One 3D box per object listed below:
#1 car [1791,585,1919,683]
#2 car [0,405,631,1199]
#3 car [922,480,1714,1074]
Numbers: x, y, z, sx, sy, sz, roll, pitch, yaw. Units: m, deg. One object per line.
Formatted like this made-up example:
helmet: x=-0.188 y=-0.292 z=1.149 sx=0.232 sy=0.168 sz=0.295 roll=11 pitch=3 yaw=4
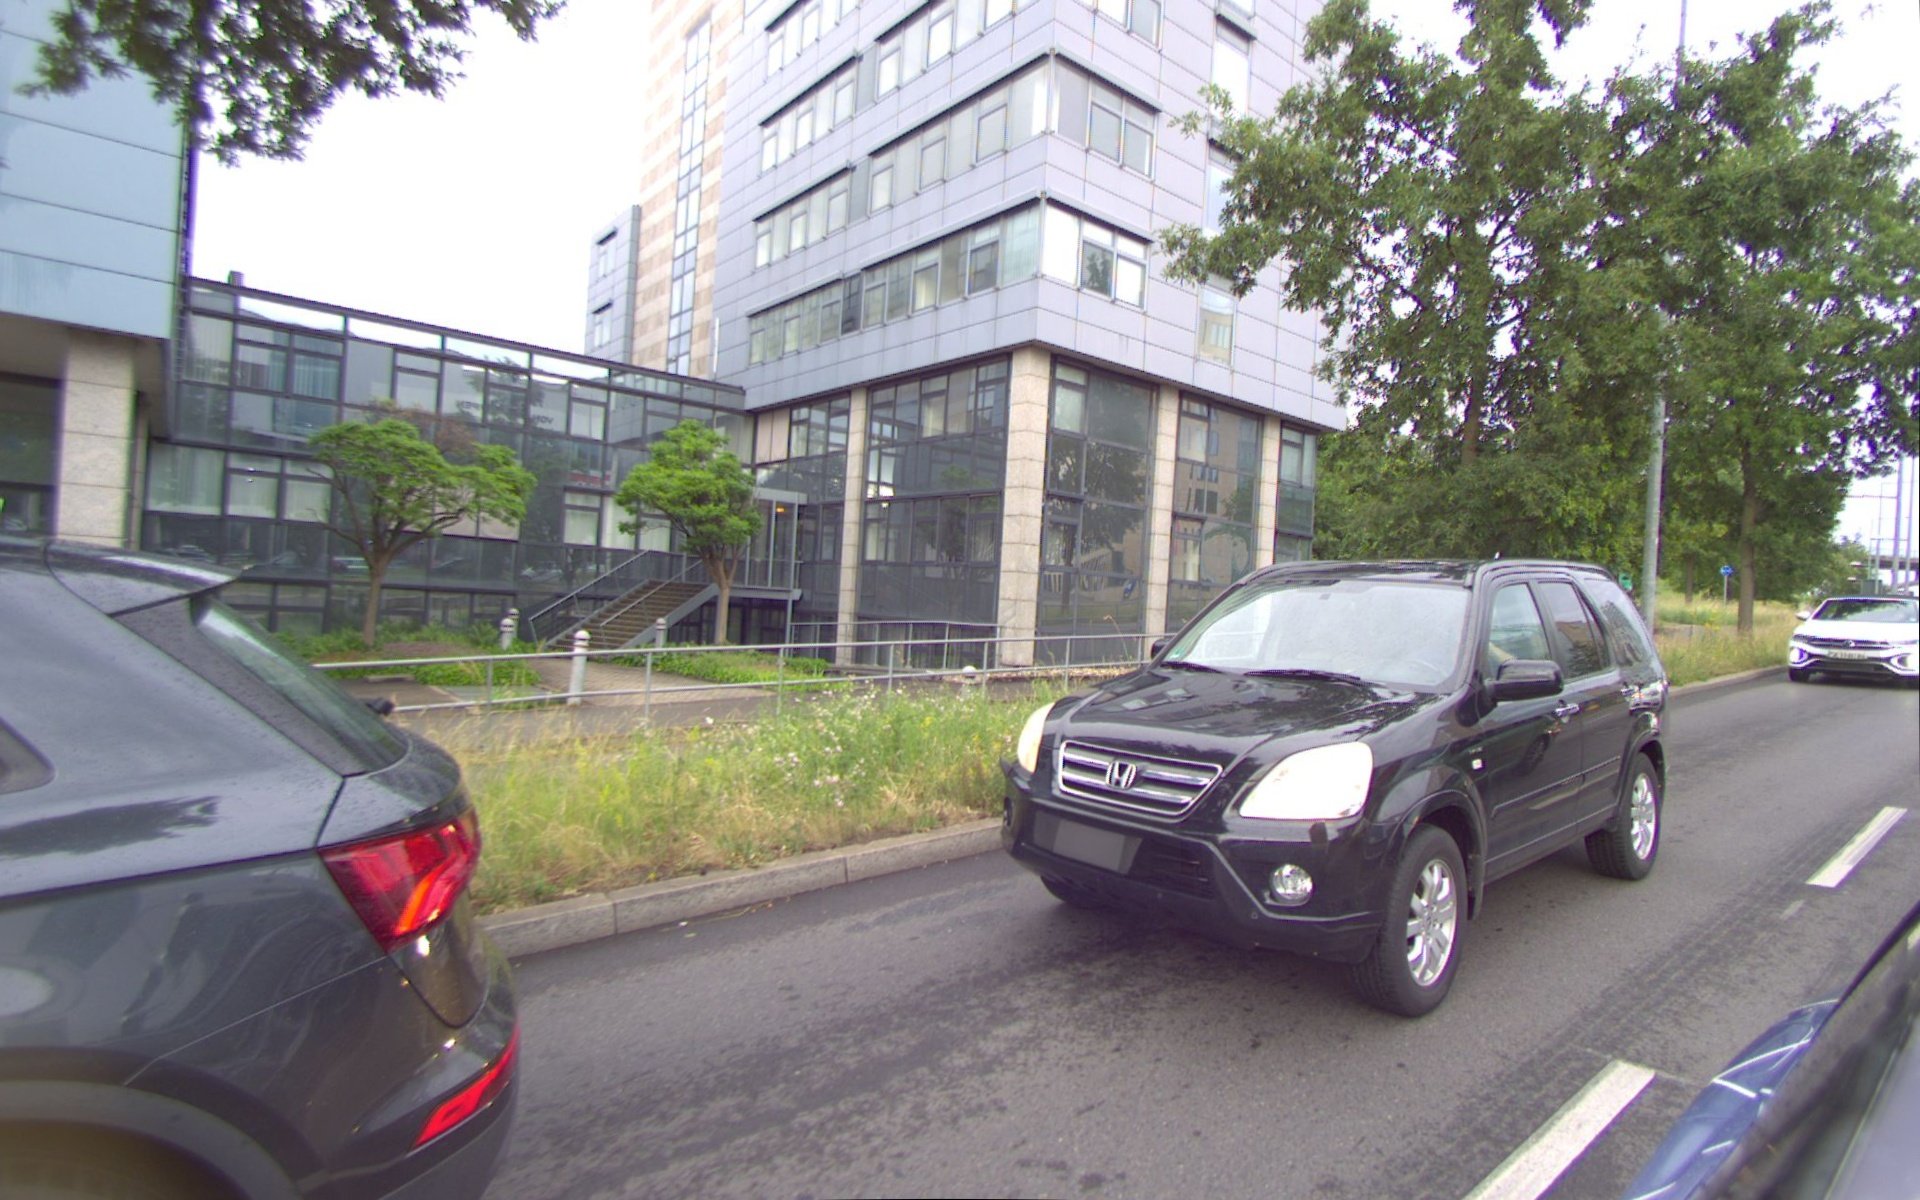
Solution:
car: x=15.994 y=0.513 z=17.480 sx=3.699 sy=1.522 sz=1.827 roll=0 pitch=1 yaw=-39
car: x=-2.841 y=0.557 z=1.075 sx=4.392 sy=1.633 sz=1.821 roll=0 pitch=1 yaw=-41
car: x=2.024 y=0.470 z=4.929 sx=4.262 sy=1.679 sz=1.758 roll=0 pitch=1 yaw=-41
